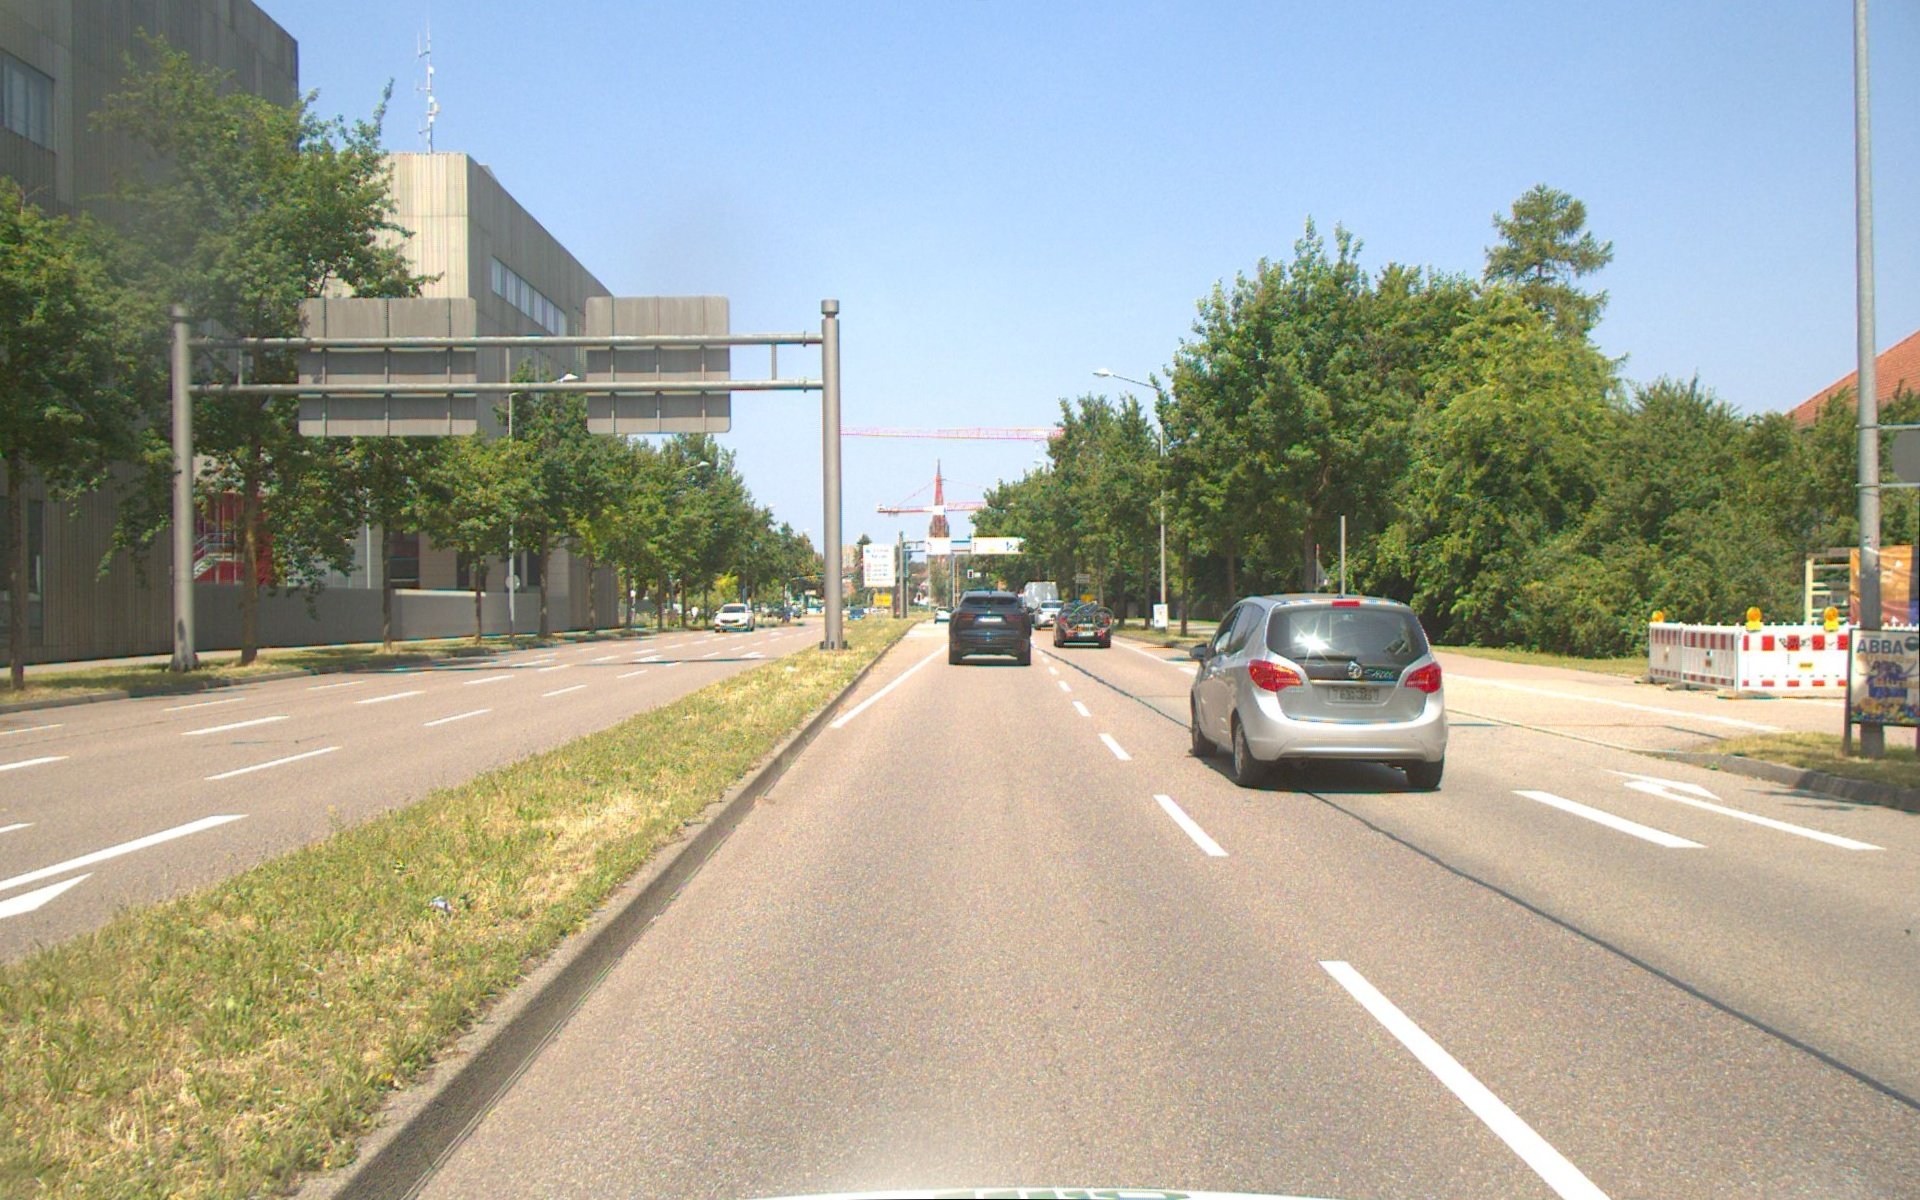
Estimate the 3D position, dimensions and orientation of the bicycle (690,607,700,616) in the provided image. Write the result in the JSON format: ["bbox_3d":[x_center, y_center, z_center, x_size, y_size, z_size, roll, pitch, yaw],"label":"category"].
[{"bbox_3d":[-22.487,0.987,140.103,0.471,0.728,1.851,-1,-1,2],"label":"bicycle"}]

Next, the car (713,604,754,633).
[{"bbox_3d":[-12.046,0.959,88.181,1.774,1.452,4.356,-2,0,-3],"label":"car"}]

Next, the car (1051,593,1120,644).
[{"bbox_3d":[3.988,0.575,53.240,1.972,1.544,4.461,-1,0,1],"label":"car"}]

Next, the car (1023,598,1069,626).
[{"bbox_3d":[4.365,0.628,84.151,1.623,1.380,4.454,-1,0,-6],"label":"car"}]

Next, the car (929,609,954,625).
[{"bbox_3d":[-1.685,1.526,150.294,1.955,1.344,3.996,0,0,-5],"label":"car"}]

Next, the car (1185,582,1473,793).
[{"bbox_3d":[3.173,0.685,14.979,1.755,1.640,3.891,-1,0,0],"label":"car"}]

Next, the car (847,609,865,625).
[{"bbox_3d":[-10.212,1.703,163.173,1.673,1.497,3.939,-2,0,-3],"label":"car"}]

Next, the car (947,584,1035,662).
[{"bbox_3d":[0.710,0.515,38.675,1.957,1.719,4.034,0,0,1],"label":"car"}]

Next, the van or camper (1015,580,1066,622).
[{"bbox_3d":[4.617,0.069,95.827,2.443,2.331,4.918,-1,0,-3],"label":"van or camper"}]
